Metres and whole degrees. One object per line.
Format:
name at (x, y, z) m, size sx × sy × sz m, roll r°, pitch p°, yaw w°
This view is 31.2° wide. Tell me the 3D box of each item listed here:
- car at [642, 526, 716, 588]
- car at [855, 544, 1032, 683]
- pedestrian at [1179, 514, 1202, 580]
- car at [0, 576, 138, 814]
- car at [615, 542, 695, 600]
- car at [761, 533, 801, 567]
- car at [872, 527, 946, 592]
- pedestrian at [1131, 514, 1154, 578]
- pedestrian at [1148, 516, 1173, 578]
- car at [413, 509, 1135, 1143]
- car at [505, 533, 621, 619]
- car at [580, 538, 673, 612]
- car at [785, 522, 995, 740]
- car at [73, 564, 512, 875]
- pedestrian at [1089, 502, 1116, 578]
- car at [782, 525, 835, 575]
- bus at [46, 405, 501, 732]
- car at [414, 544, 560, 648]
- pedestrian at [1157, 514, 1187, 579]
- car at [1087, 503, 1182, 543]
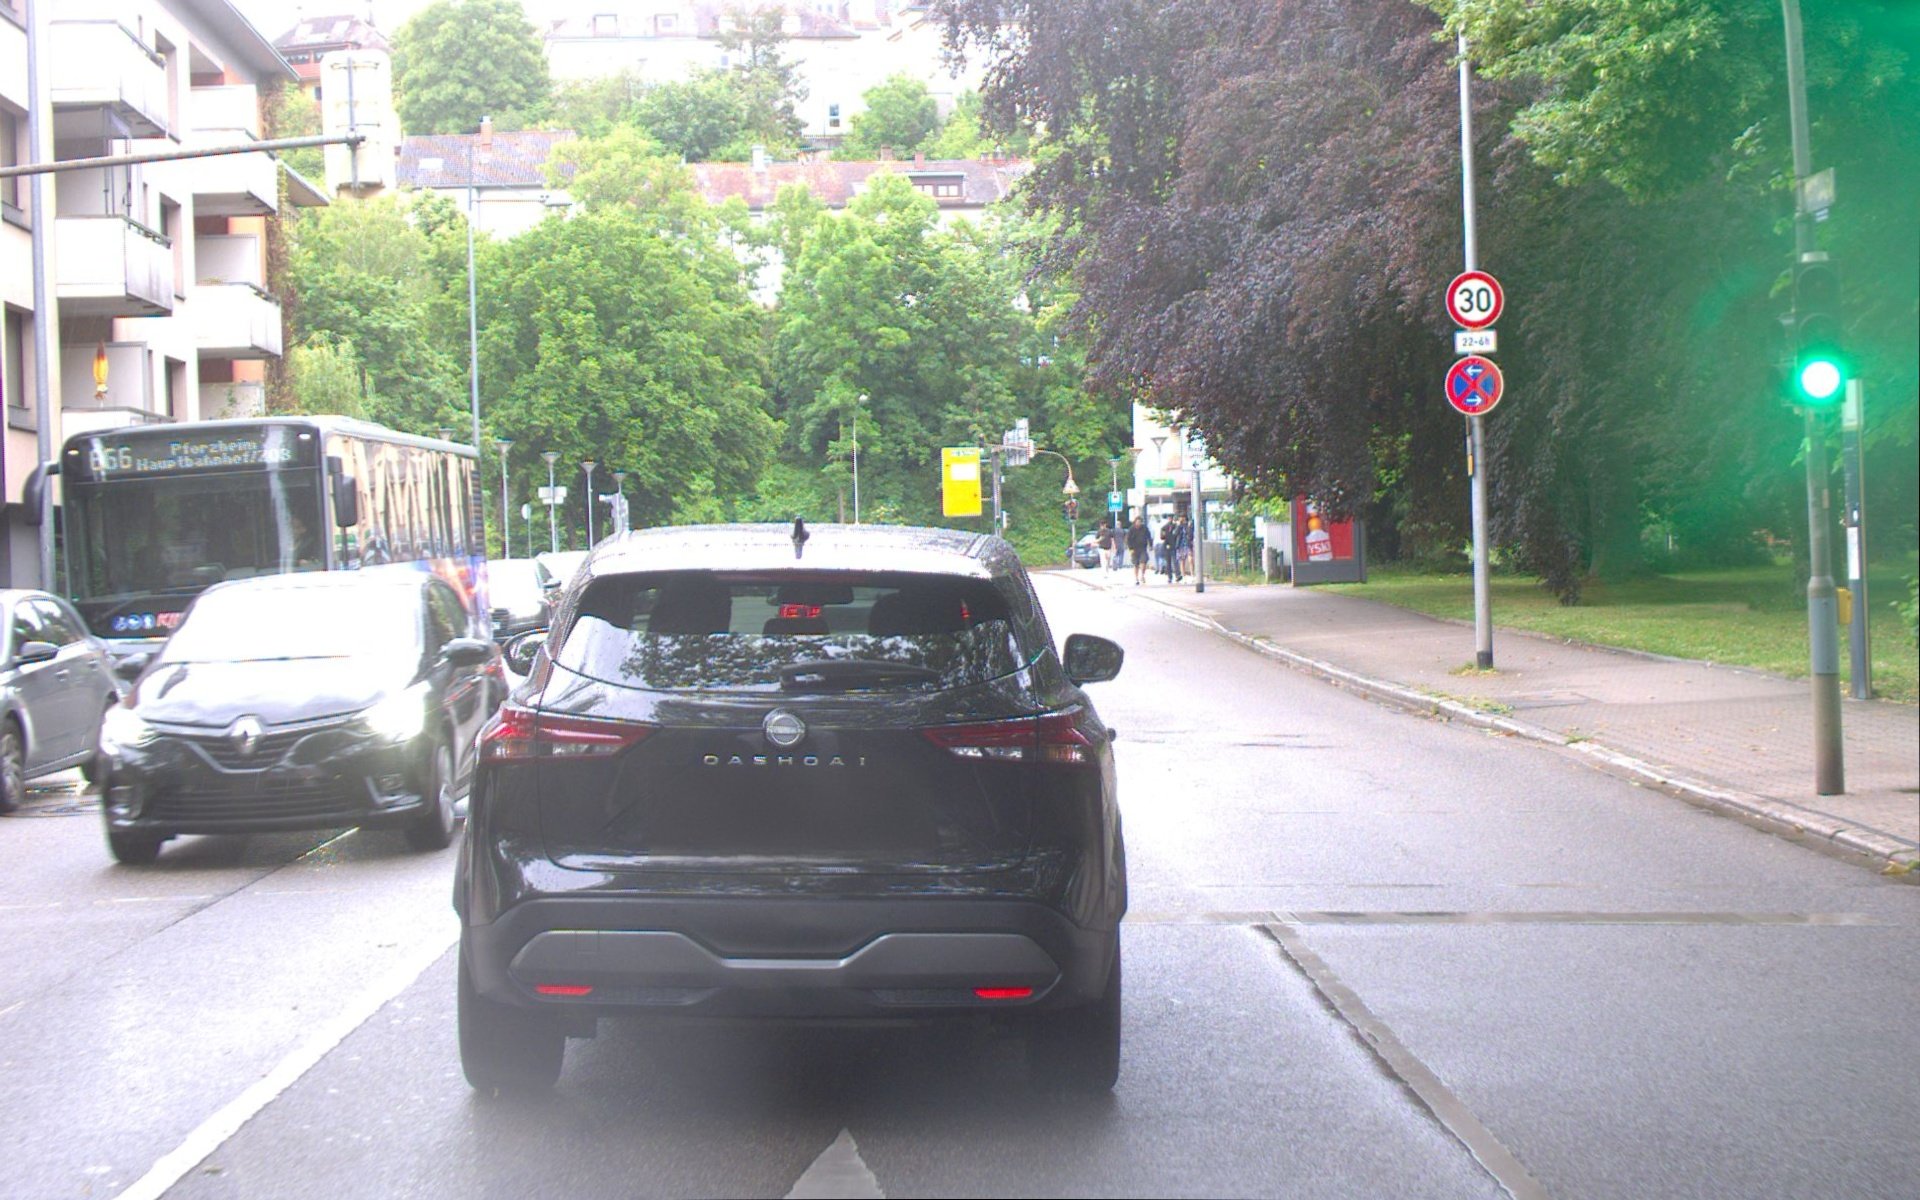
car at (-7.898, -1.231, 96.757) m, size 1.750 × 1.628 × 3.635 m, roll -2°, pitch 1°, yaw 0°
car at (-0.227, 0.109, 37.746) m, size 1.808 × 1.412 × 4.031 m, roll -1°, pitch 1°, yaw -2°
pedestrian at (5.815, -1.337, 86.663) m, size 0.514 × 1.650 × 0.550 m, roll 1°, pitch 0°, yaw -1°
car at (-6.867, 0.618, 23.031) m, size 1.808 × 1.412 × 4.031 m, roll -3°, pitch 1°, yaw -2°
car at (-7.479, -0.723, 84.561) m, size 1.676 × 1.291 × 3.752 m, roll -3°, pitch 1°, yaw -2°
car at (-8.141, -2.276, 156.395) m, size 1.718 × 1.463 × 3.686 m, roll -2°, pitch 1°, yaw -3°
car at (-1.163, -0.956, 79.817) m, size 1.624 × 1.410 × 3.455 m, roll -2°, pitch 1°, yaw 0°
pedestrian at (4.673, -1.384, 88.244) m, size 0.544 × 1.645 × 0.490 m, roll 1°, pitch 0°, yaw 0°
pedestrian at (5.828, -1.550, 99.904) m, size 0.618 × 1.773 × 0.778 m, roll -2°, pitch 1°, yaw -1°
car at (-0.501, 0.557, 10.679) m, size 1.806 × 1.584 × 4.000 m, roll 1°, pitch 0°, yaw -1°
car at (-7.350, -0.474, 63.957) m, size 1.747 × 1.464 × 4.217 m, roll -3°, pitch 1°, yaw -2°
car at (-7.250, -0.567, 75.071) m, size 1.676 × 1.464 × 4.217 m, roll -3°, pitch 1°, yaw -2°
car at (-0.552, 0.217, 29.788) m, size 1.622 × 1.703 × 3.771 m, roll -2°, pitch 1°, yaw 1°
car at (-3.448, 0.560, 18.320) m, size 1.624 × 1.410 × 3.455 m, roll -2°, pitch 1°, yaw 0°
pedestrian at (4.114, -1.736, 99.150) m, size 0.768 × 2.176 × 0.711 m, roll 1°, pitch 0°, yaw 2°
car at (-5.607, -1.873, 127.318) m, size 1.763 × 1.752 × 3.635 m, roll -2°, pitch 1°, yaw 0°
bus at (-7.189, -0.373, 37.952) m, size 2.766 × 2.964 × 11.782 m, roll -2°, pitch 1°, yaw -1°
car at (-7.373, -0.095, 53.934) m, size 1.775 × 1.464 × 4.217 m, roll -3°, pitch 1°, yaw -2°
pedestrian at (5.451, -1.377, 88.447) m, size 0.699 × 1.645 × 0.628 m, roll 1°, pitch 0°, yaw 0°
car at (8.148, -3.587, 160.630) m, size 3.986 × 1.678 × 2.001 m, roll -3°, pitch 1°, yaw -11°
